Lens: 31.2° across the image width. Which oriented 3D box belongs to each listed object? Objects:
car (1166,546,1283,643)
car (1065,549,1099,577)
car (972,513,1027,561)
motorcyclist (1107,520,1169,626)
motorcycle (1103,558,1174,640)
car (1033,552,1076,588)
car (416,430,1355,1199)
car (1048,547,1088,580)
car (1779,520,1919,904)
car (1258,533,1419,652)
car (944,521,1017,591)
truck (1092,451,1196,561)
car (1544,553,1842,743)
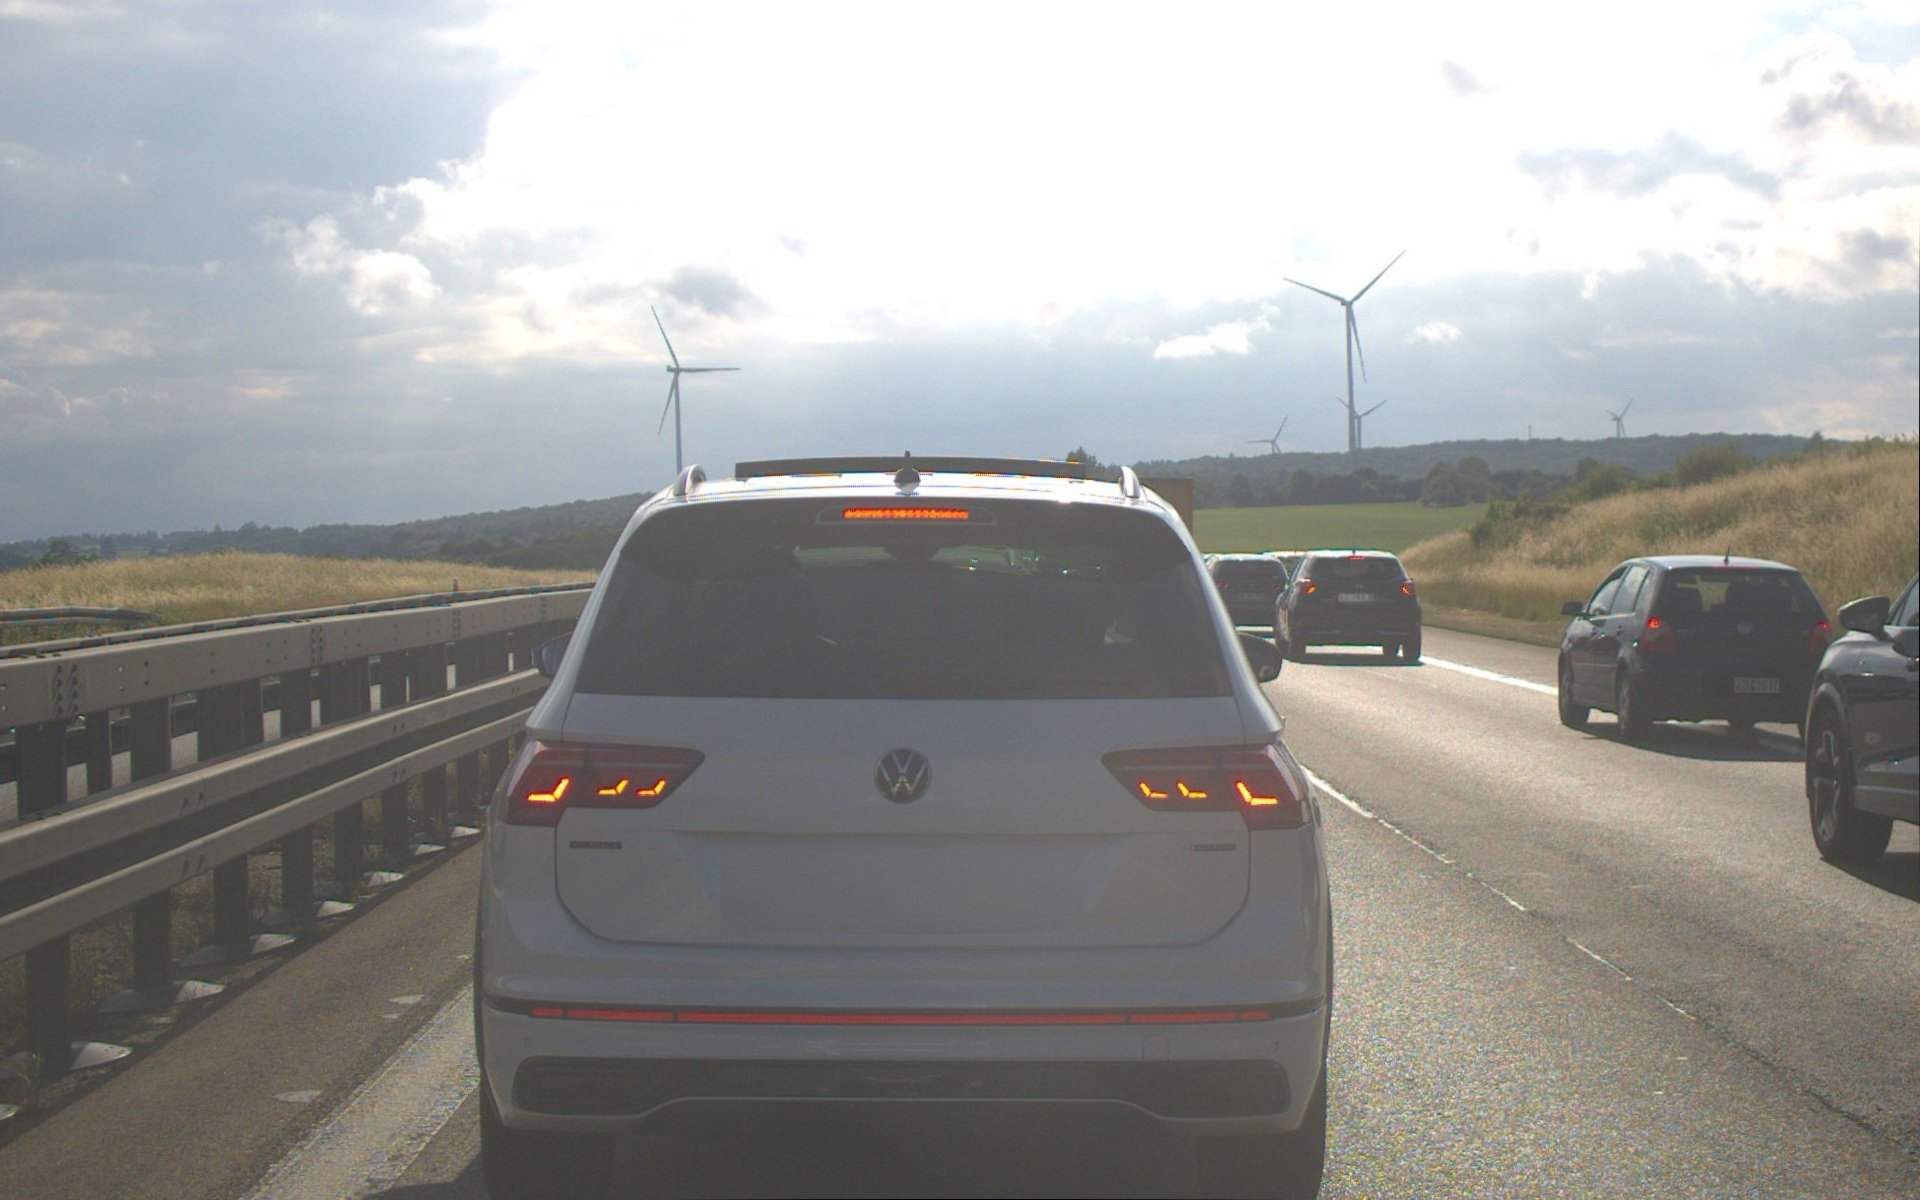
[{"bbox_3d":[4.606,-0.119,60.335,1.704,1.644,4.000,0,1,-1],"label":"car"},{"bbox_3d":[6.786,-2.072,191.669,1.704,1.540,4.000,0,1,-1],"label":"car"},{"bbox_3d":[1.283,-2.066,113.083,1.704,1.540,4.000,0,1,-1],"label":"car"},{"bbox_3d":[2.637,-0.400,50.972,0.849,1.554,0.934,0,1,-1],"label":"motorcyclist"},{"bbox_3d":[2.634,-0.025,51.021,0.895,1.186,2.257,0,1,-1],"label":"motorcycle"},{"bbox_3d":[4.094,-1.309,149.283,1.704,1.540,4.000,0,1,-1],"label":"car"},{"bbox_3d":[-0.161,0.491,8.488,1.770,1.670,4.000,0,1,-1],"label":"car"},{"bbox_3d":[5.059,-1.704,160.866,1.704,1.540,4.000,0,1,-1],"label":"car"},{"bbox_3d":[4.917,0.487,14.512,1.821,1.596,4.235,2,1,-1],"label":"car"},{"bbox_3d":[5.083,-0.120,46.591,1.704,1.540,4.000,0,1,-1],"label":"car"},{"bbox_3d":[0.478,-1.065,83.147,1.704,1.644,4.000,0,1,-1],"label":"car"},{"bbox_3d":[6.181,-3.182,116.989,3.184,3.581,11.130,0,1,1],"label":"truck"},{"bbox_3d":[5.787,0.338,27.499,1.605,1.415,3.672,0,1,0],"label":"car"}]
